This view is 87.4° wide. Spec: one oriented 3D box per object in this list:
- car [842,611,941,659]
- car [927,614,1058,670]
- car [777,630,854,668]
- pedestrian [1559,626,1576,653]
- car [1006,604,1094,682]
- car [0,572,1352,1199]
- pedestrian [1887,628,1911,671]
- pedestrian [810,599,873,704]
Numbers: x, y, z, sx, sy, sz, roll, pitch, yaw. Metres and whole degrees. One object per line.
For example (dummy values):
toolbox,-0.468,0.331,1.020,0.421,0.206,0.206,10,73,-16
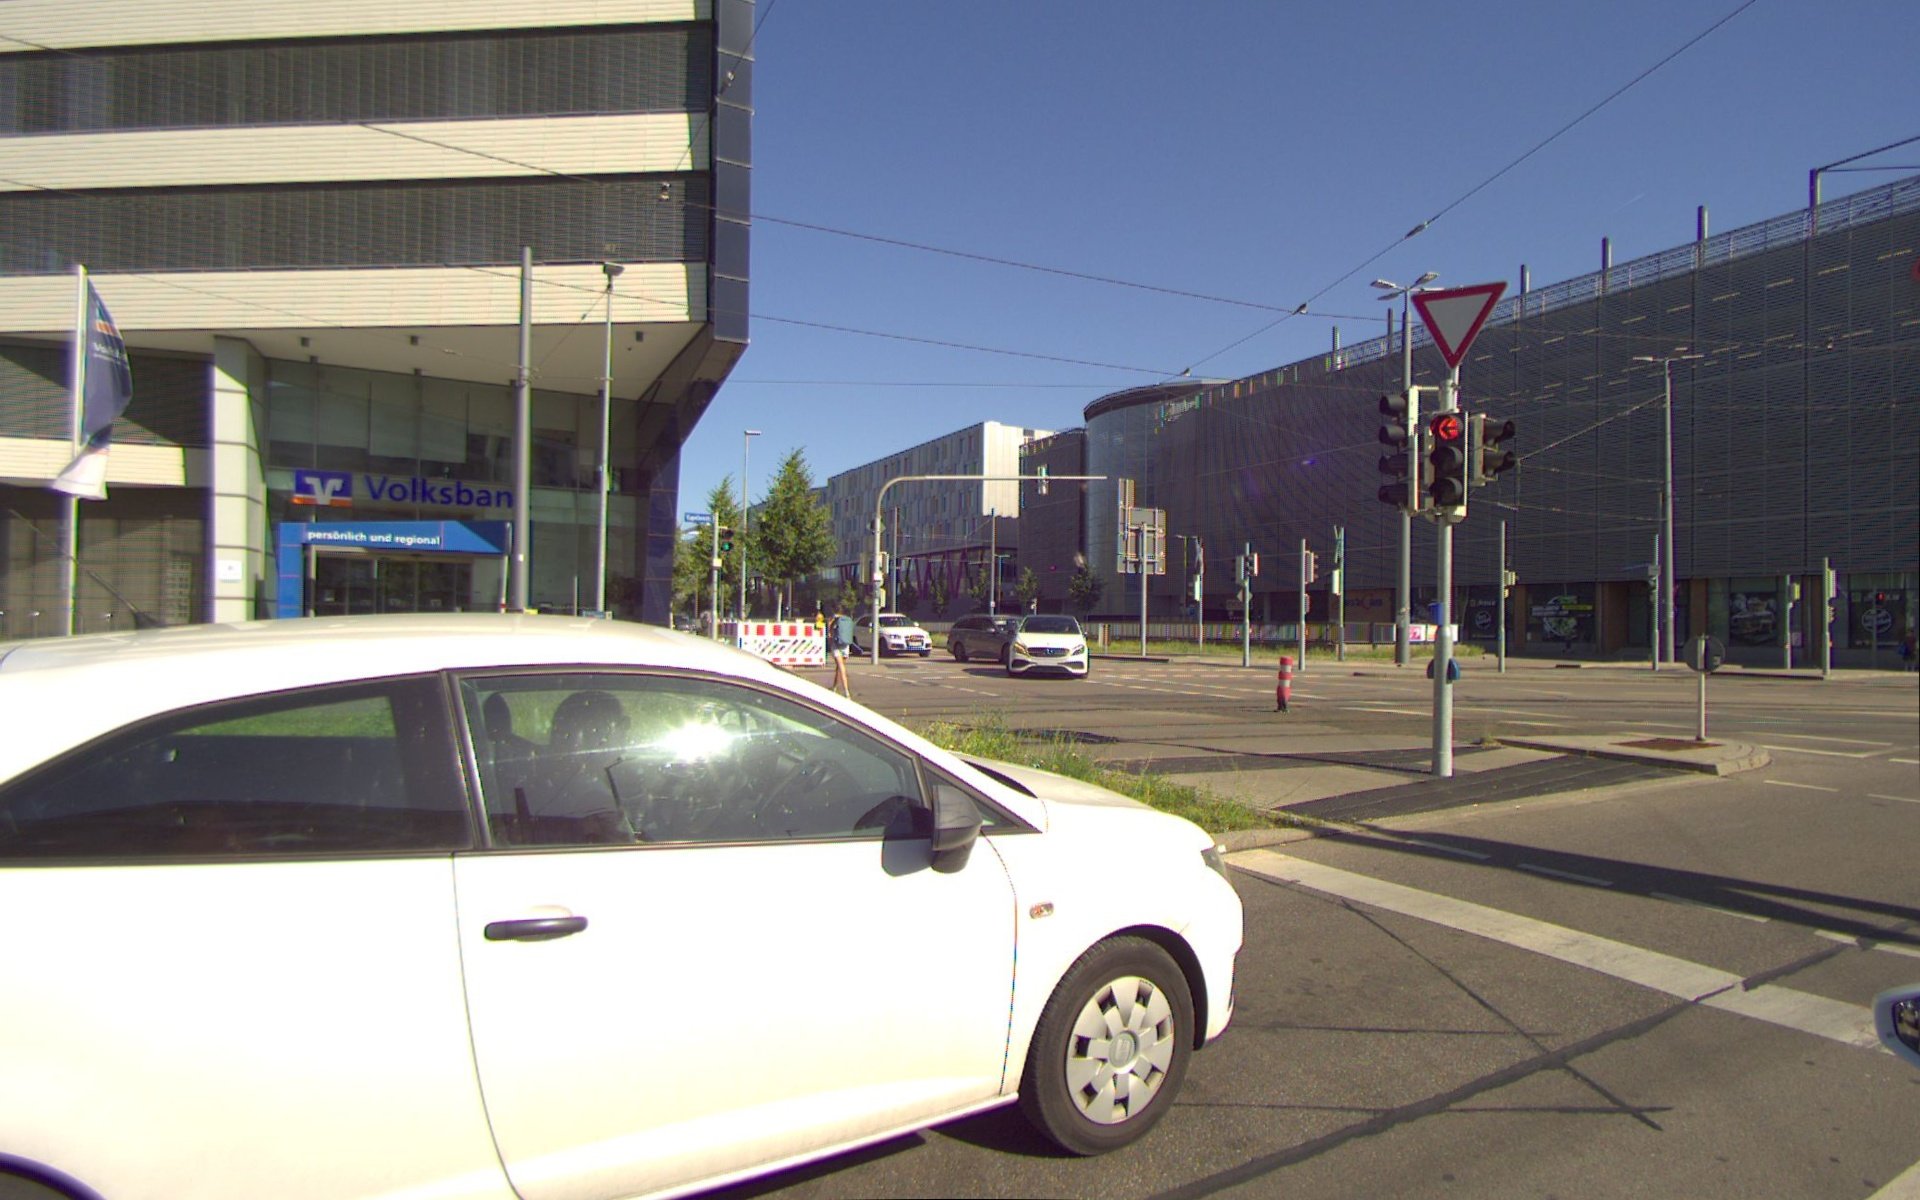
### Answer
car,-2.692,1.316,38.459,1.915,1.729,4.645,1,-2,-31
car,0.919,1.251,31.477,1.688,1.593,4.829,1,-1,-32
car,-6.548,2.155,45.075,1.812,1.481,4.645,1,0,-31
pedestrian,38.011,2.475,62.890,0.584,1.622,0.661,2,0,-11
car,2.226,0.957,23.896,1.788,1.668,4.185,1,-1,9
car,-0.966,0.737,2.792,3.977,1.460,1.723,2,1,-31
pedestrian,39.960,2.112,42.731,0.687,1.821,0.726,-2,-3,44
pedestrian,-2.030,0.858,17.146,0.734,1.719,0.798,1,1,-40
